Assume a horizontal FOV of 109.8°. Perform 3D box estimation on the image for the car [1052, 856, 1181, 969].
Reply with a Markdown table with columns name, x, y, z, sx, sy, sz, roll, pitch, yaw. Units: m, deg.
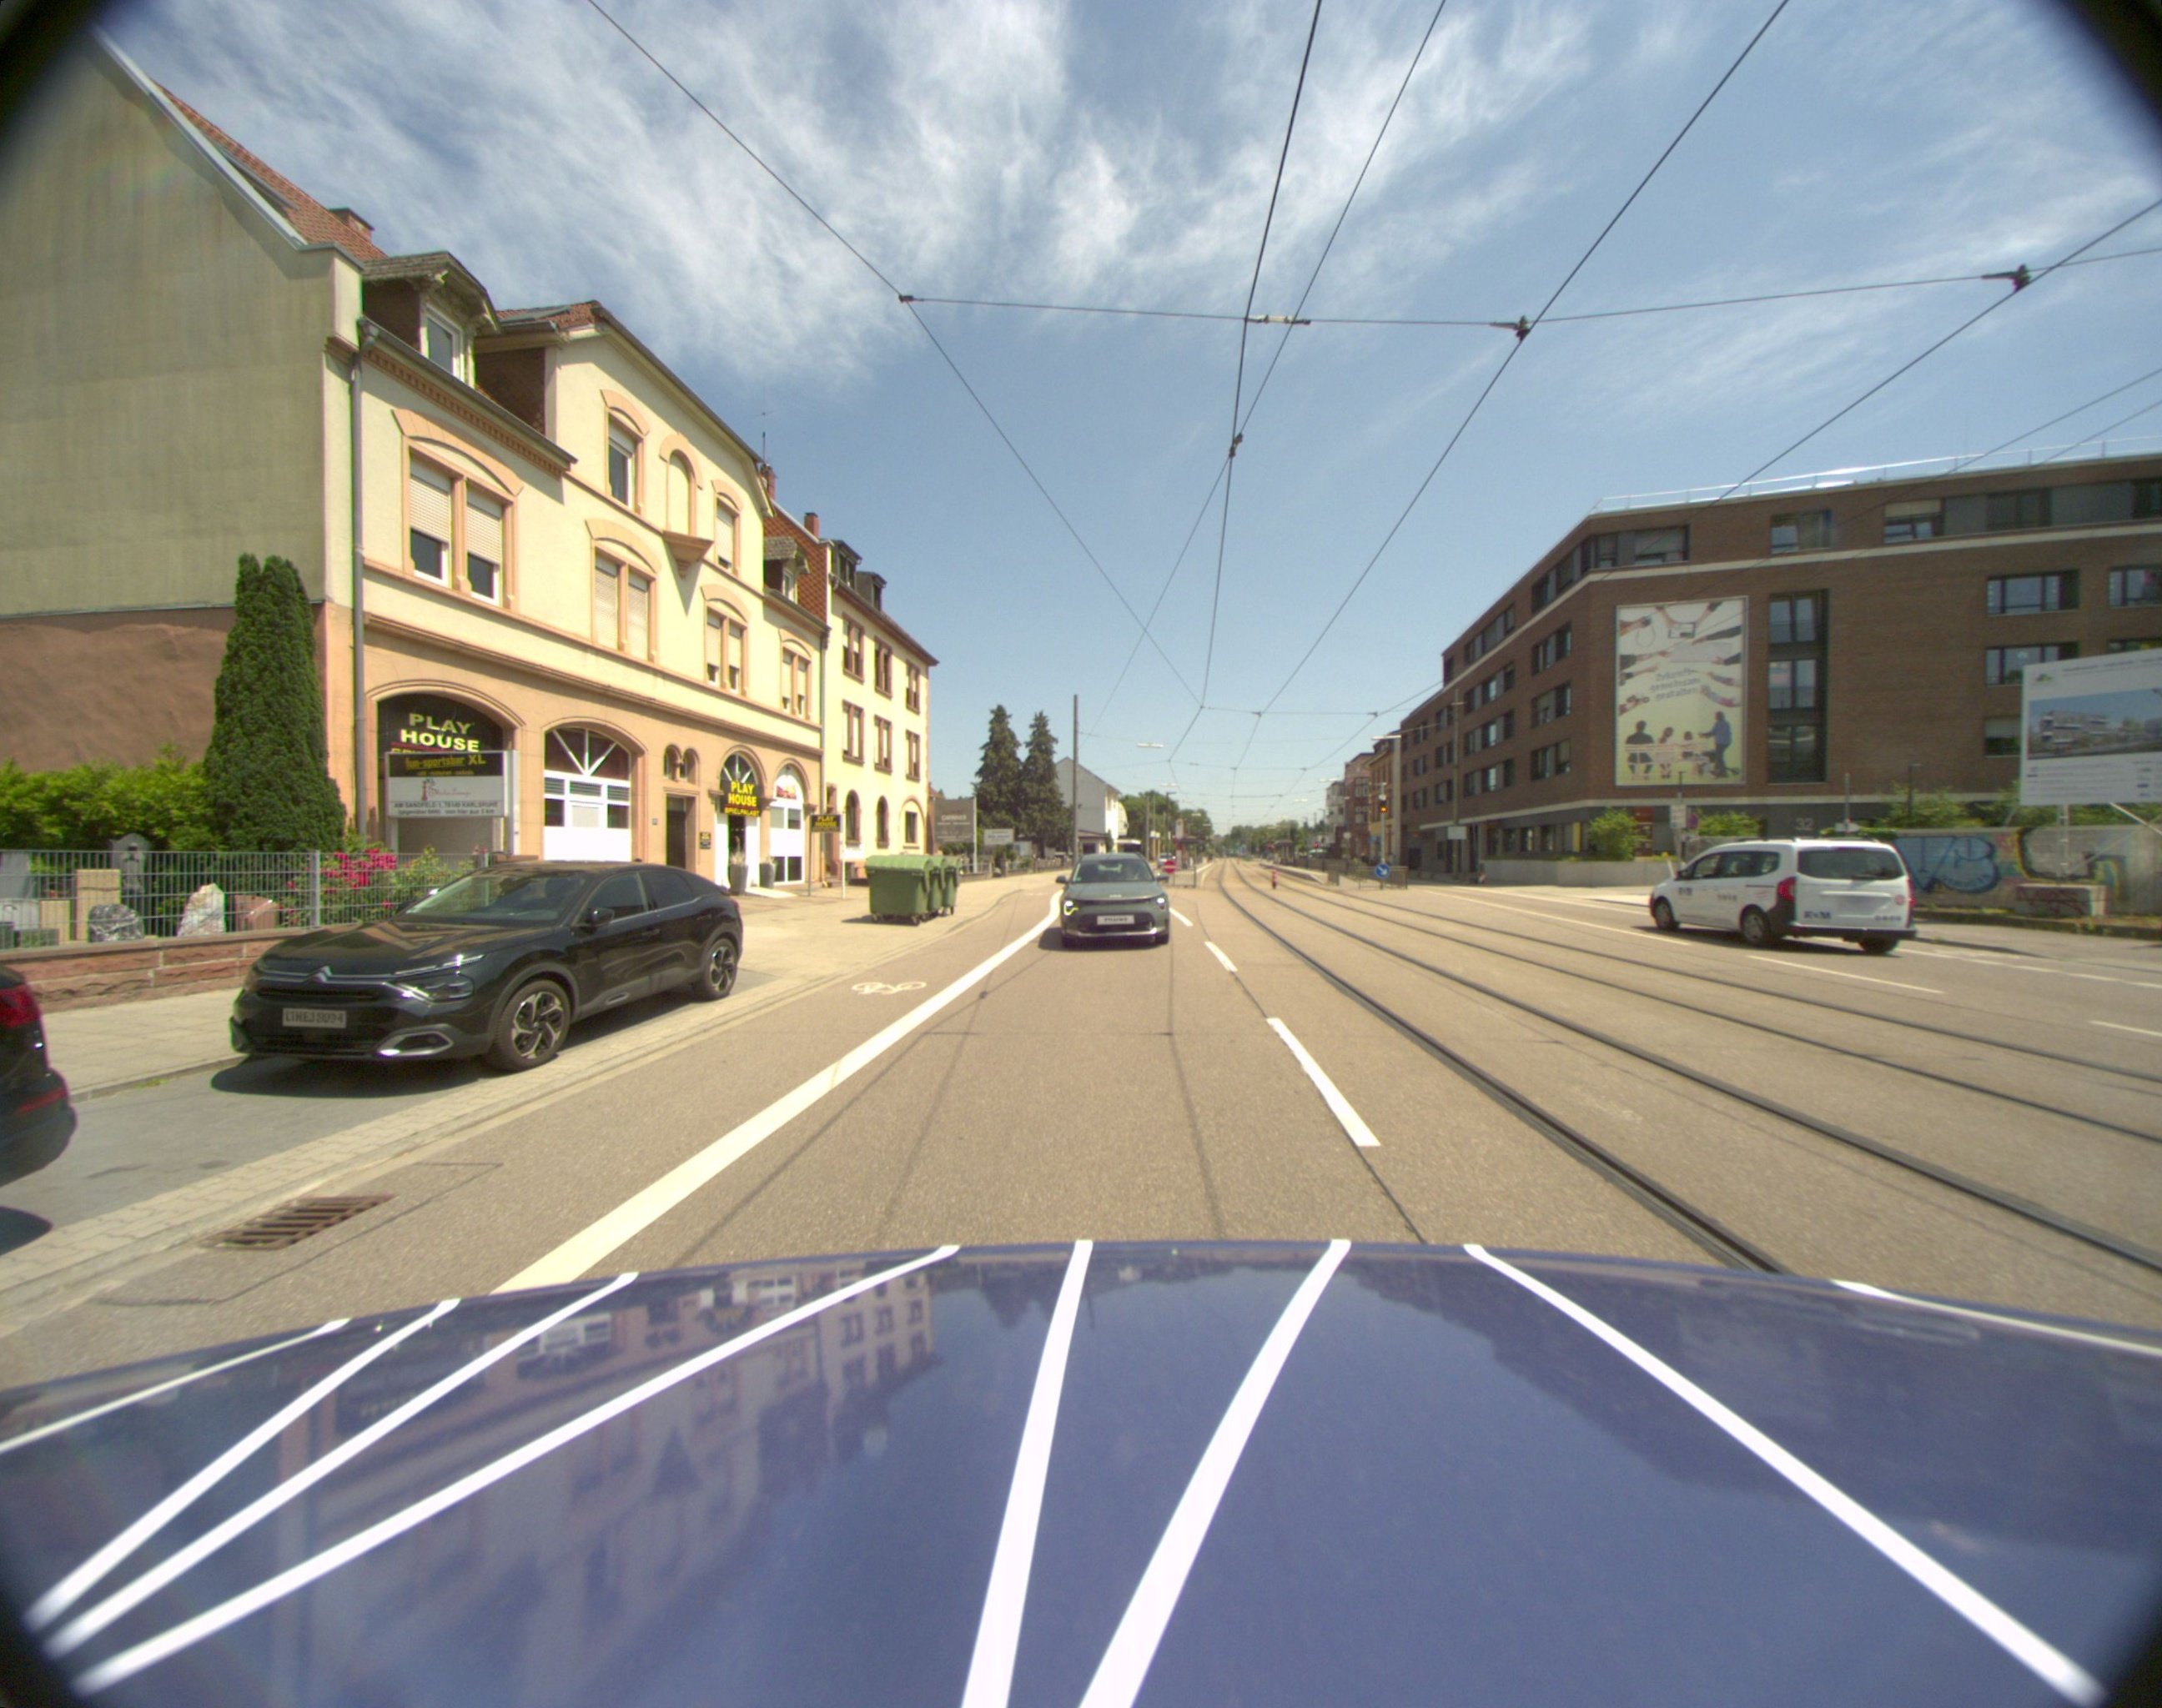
| name | x | y | z | sx | sy | sz | roll | pitch | yaw |
| --- | --- | --- | --- | --- | --- | --- | --- | --- | --- |
| car | 0.578 | 0.845 | 13.111 | 1.827 | 1.546 | 4.487 | 0 | 1 | 2 |

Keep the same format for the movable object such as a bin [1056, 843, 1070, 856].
| name | x | y | z | sx | sy | sz | roll | pitch | yaw |
| --- | --- | --- | --- | --- | --- | --- | --- | --- | --- |
| movable object such as a bin | -2.078 | -0.544 | 87.356 | 1.389 | 1.473 | 1.152 | 0 | 1 | 15 |

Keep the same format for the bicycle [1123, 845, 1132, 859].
| name | x | y | z | sx | sy | sz | roll | pitch | yaw |
| --- | --- | --- | --- | --- | --- | --- | --- | --- | --- |
| bicycle | 6.664 | -0.264 | 108.933 | 0.799 | 1.889 | 1.961 | 3 | 1 | 18 |

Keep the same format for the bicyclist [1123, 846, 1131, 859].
| name | x | y | z | sx | sy | sz | roll | pitch | yaw |
| --- | --- | --- | --- | --- | --- | --- | --- | --- | --- |
| bicyclist | 6.612 | -0.236 | 108.794 | 0.790 | 1.864 | 0.888 | 3 | 1 | 18 |

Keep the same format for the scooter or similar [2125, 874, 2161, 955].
| name | x | y | z | sx | sy | sz | roll | pitch | yaw |
| --- | --- | --- | --- | --- | --- | --- | --- | --- | --- |
| scooter or similar | 17.599 | 0.982 | 12.283 | 0.345 | 1.257 | 1.244 | -1 | 1 | 28 |

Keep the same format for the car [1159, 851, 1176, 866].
| name | x | y | z | sx | sy | sz | roll | pitch | yaw |
| --- | --- | --- | --- | --- | --- | --- | --- | --- | --- |
| car | 9.510 | 0.455 | 83.626 | 1.748 | 1.546 | 4.489 | -2 | 0 | 6 |

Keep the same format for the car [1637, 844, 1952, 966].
| name | x | y | z | sx | sy | sz | roll | pitch | yaw |
| --- | --- | --- | --- | --- | --- | --- | --- | --- | --- |
| car | 12.249 | 0.722 | 13.586 | 1.996 | 1.789 | 4.556 | 1 | 1 | 12 |

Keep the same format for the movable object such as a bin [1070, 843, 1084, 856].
| name | x | y | z | sx | sy | sz | roll | pitch | yaw |
| --- | --- | --- | --- | --- | --- | --- | --- | --- | --- |
| movable object such as a bin | -0.454 | -0.535 | 86.910 | 1.389 | 1.473 | 1.152 | 0 | 1 | 12 |

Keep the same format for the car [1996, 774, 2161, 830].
| name | x | y | z | sx | sy | sz | roll | pitch | yaw |
| --- | --- | --- | --- | --- | --- | --- | --- | --- | --- |
| car | 30.828 | -1.535 | 23.174 | 1.734 | 1.460 | 4.004 | -1 | 0 | 15 |

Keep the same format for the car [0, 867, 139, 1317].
| name | x | y | z | sx | sy | sz | roll | pitch | yaw |
| --- | --- | --- | --- | --- | --- | --- | --- | --- | --- |
| car | -5.207 | 0.905 | 0.799 | 1.928 | 1.683 | 5.083 | 2 | 1 | 4 |

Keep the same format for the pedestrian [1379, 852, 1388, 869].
| name | x | y | z | sx | sy | sz | roll | pitch | yaw |
| --- | --- | --- | --- | --- | --- | --- | --- | --- | --- |
| pedestrian | 28.383 | 0.636 | 71.348 | 0.604 | 1.586 | 0.715 | 0 | 1 | 9 |

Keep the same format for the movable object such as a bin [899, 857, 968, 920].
| name | x | y | z | sx | sy | sz | roll | pitch | yaw |
| --- | --- | --- | --- | --- | --- | --- | --- | --- | --- |
| movable object such as a bin | -3.571 | 0.819 | 18.512 | 1.395 | 1.446 | 1.139 | 2 | 1 | 0 |

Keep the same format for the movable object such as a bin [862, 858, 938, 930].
| name | x | y | z | sx | sy | sz | roll | pitch | yaw |
| --- | --- | --- | --- | --- | --- | --- | --- | --- | --- |
| movable object such as a bin | -3.863 | 0.834 | 16.349 | 1.327 | 1.446 | 1.058 | 2 | 1 | 0 |

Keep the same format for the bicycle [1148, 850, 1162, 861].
| name | x | y | z | sx | sy | sz | roll | pitch | yaw |
| --- | --- | --- | --- | --- | --- | --- | --- | --- | --- |
| bicycle | 12.252 | 0.220 | 126.216 | 2.052 | 1.580 | 0.889 | 4 | 1 | -21 |

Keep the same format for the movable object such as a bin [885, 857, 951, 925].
| name | x | y | z | sx | sy | sz | roll | pitch | yaw |
| --- | --- | --- | --- | --- | --- | --- | --- | --- | --- |
| movable object such as a bin | -3.712 | 0.825 | 17.410 | 1.250 | 1.446 | 1.058 | 2 | 1 | 0 |

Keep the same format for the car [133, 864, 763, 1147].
| name | x | y | z | sx | sy | sz | roll | pitch | yaw |
| --- | --- | --- | --- | --- | --- | --- | --- | --- | --- |
| car | -4.841 | 0.954 | 6.885 | 1.776 | 1.539 | 4.468 | 2 | 1 | 4 |

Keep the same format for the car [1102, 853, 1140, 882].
| name | x | y | z | sx | sy | sz | roll | pitch | yaw |
| --- | --- | --- | --- | --- | --- | --- | --- | --- | --- |
| car | 2.413 | 0.765 | 44.818 | 1.747 | 1.546 | 4.490 | -2 | 0 | 9 |

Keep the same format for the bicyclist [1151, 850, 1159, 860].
| name | x | y | z | sx | sy | sz | roll | pitch | yaw |
| --- | --- | --- | --- | --- | --- | --- | --- | --- | --- |
| bicyclist | 12.272 | 0.224 | 126.227 | 0.987 | 1.569 | 0.867 | 4 | 1 | -21 |
